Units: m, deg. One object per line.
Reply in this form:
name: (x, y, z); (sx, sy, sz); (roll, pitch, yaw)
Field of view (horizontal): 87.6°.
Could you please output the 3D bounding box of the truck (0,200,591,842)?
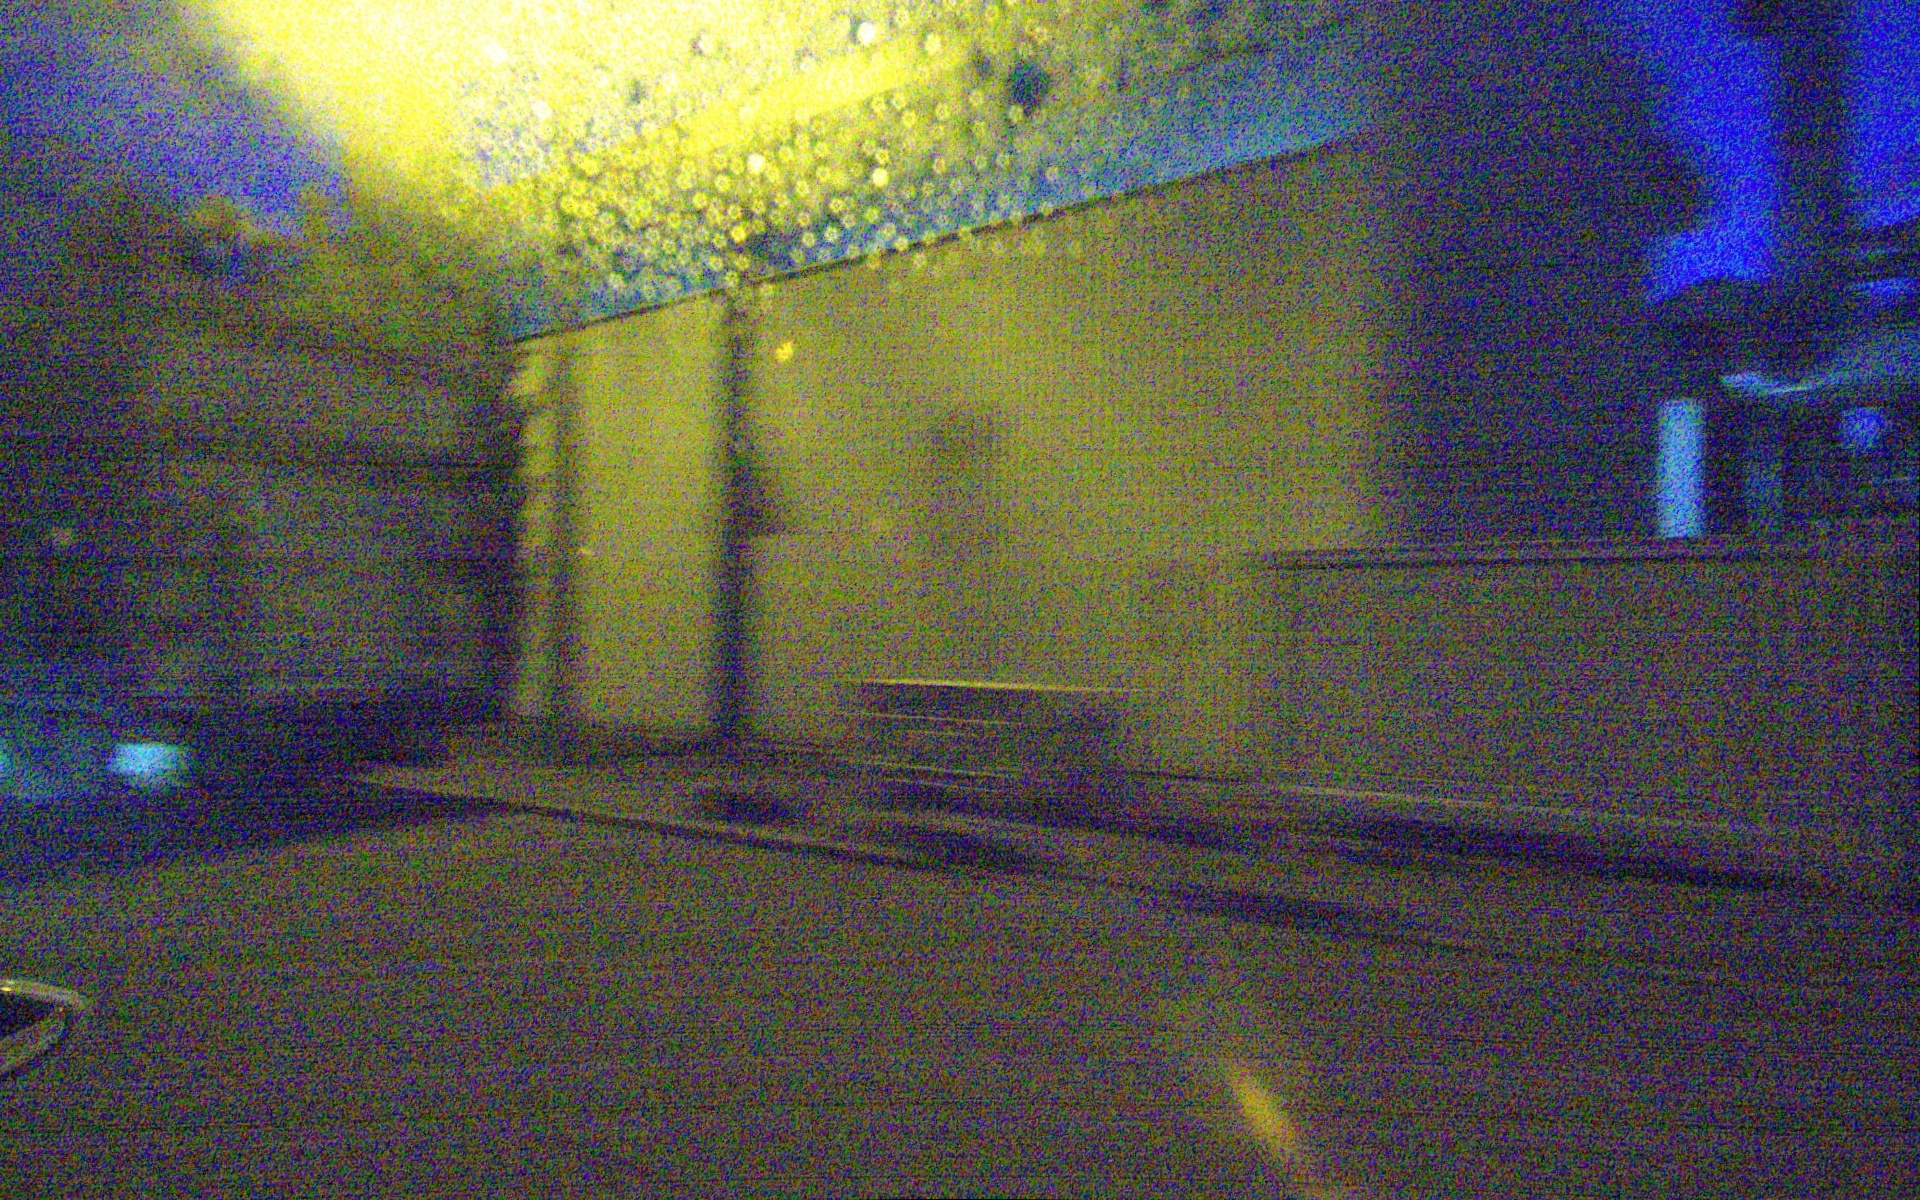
truck: (-8.702, -0.376, 10.447); (10.191, 4.035, 3.515); (-1, -1, 31)
